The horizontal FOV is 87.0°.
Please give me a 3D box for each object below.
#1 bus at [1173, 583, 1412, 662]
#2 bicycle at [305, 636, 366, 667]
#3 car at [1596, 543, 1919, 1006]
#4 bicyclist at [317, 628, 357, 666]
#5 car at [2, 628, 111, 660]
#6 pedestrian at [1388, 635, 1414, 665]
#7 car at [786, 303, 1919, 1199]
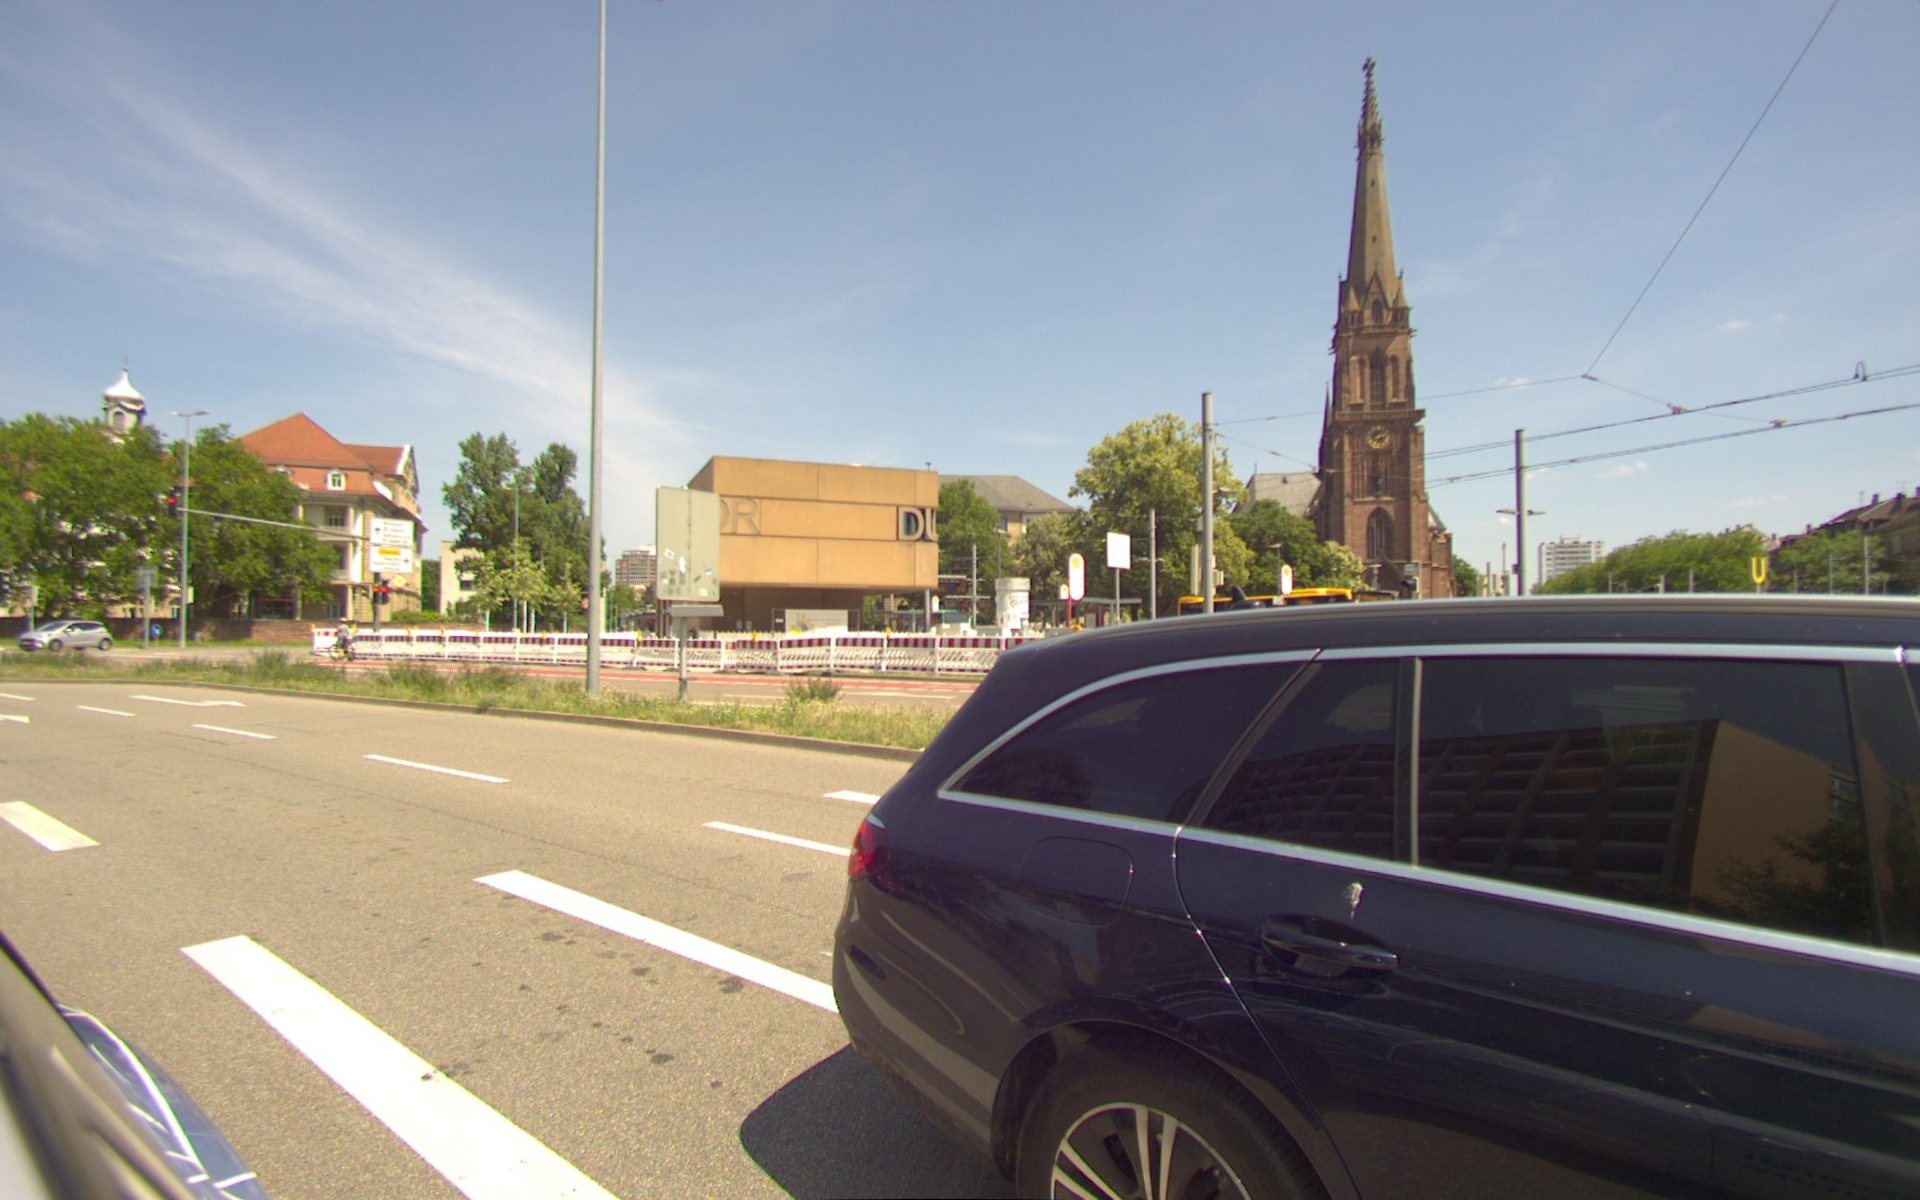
[{"bbox_3d":[14.180,1.082,45.055,2.807,3.039,12.259,1,-2,-22],"label":"bus"},{"bbox_3d":[-23.275,1.899,37.708,2.220,1.080,0.871,-1,0,26],"label":"bicycle"},{"bbox_3d":[4.557,0.595,3.506,3.736,1.588,1.725,-2,-3,42],"label":"car"},{"bbox_3d":[-23.320,1.749,37.879,1.432,1.366,0.582,-1,0,26],"label":"bicyclist"},{"bbox_3d":[-43.796,2.118,49.159,1.772,1.475,3.627,-1,-2,10],"label":"car"},{"bbox_3d":[20.070,2.286,46.099,0.518,1.344,1.001,0,-2,-17],"label":"pedestrian"},{"bbox_3d":[1.974,0.494,1.430,4.803,1.653,1.778,-2,-1,42],"label":"car"}]
